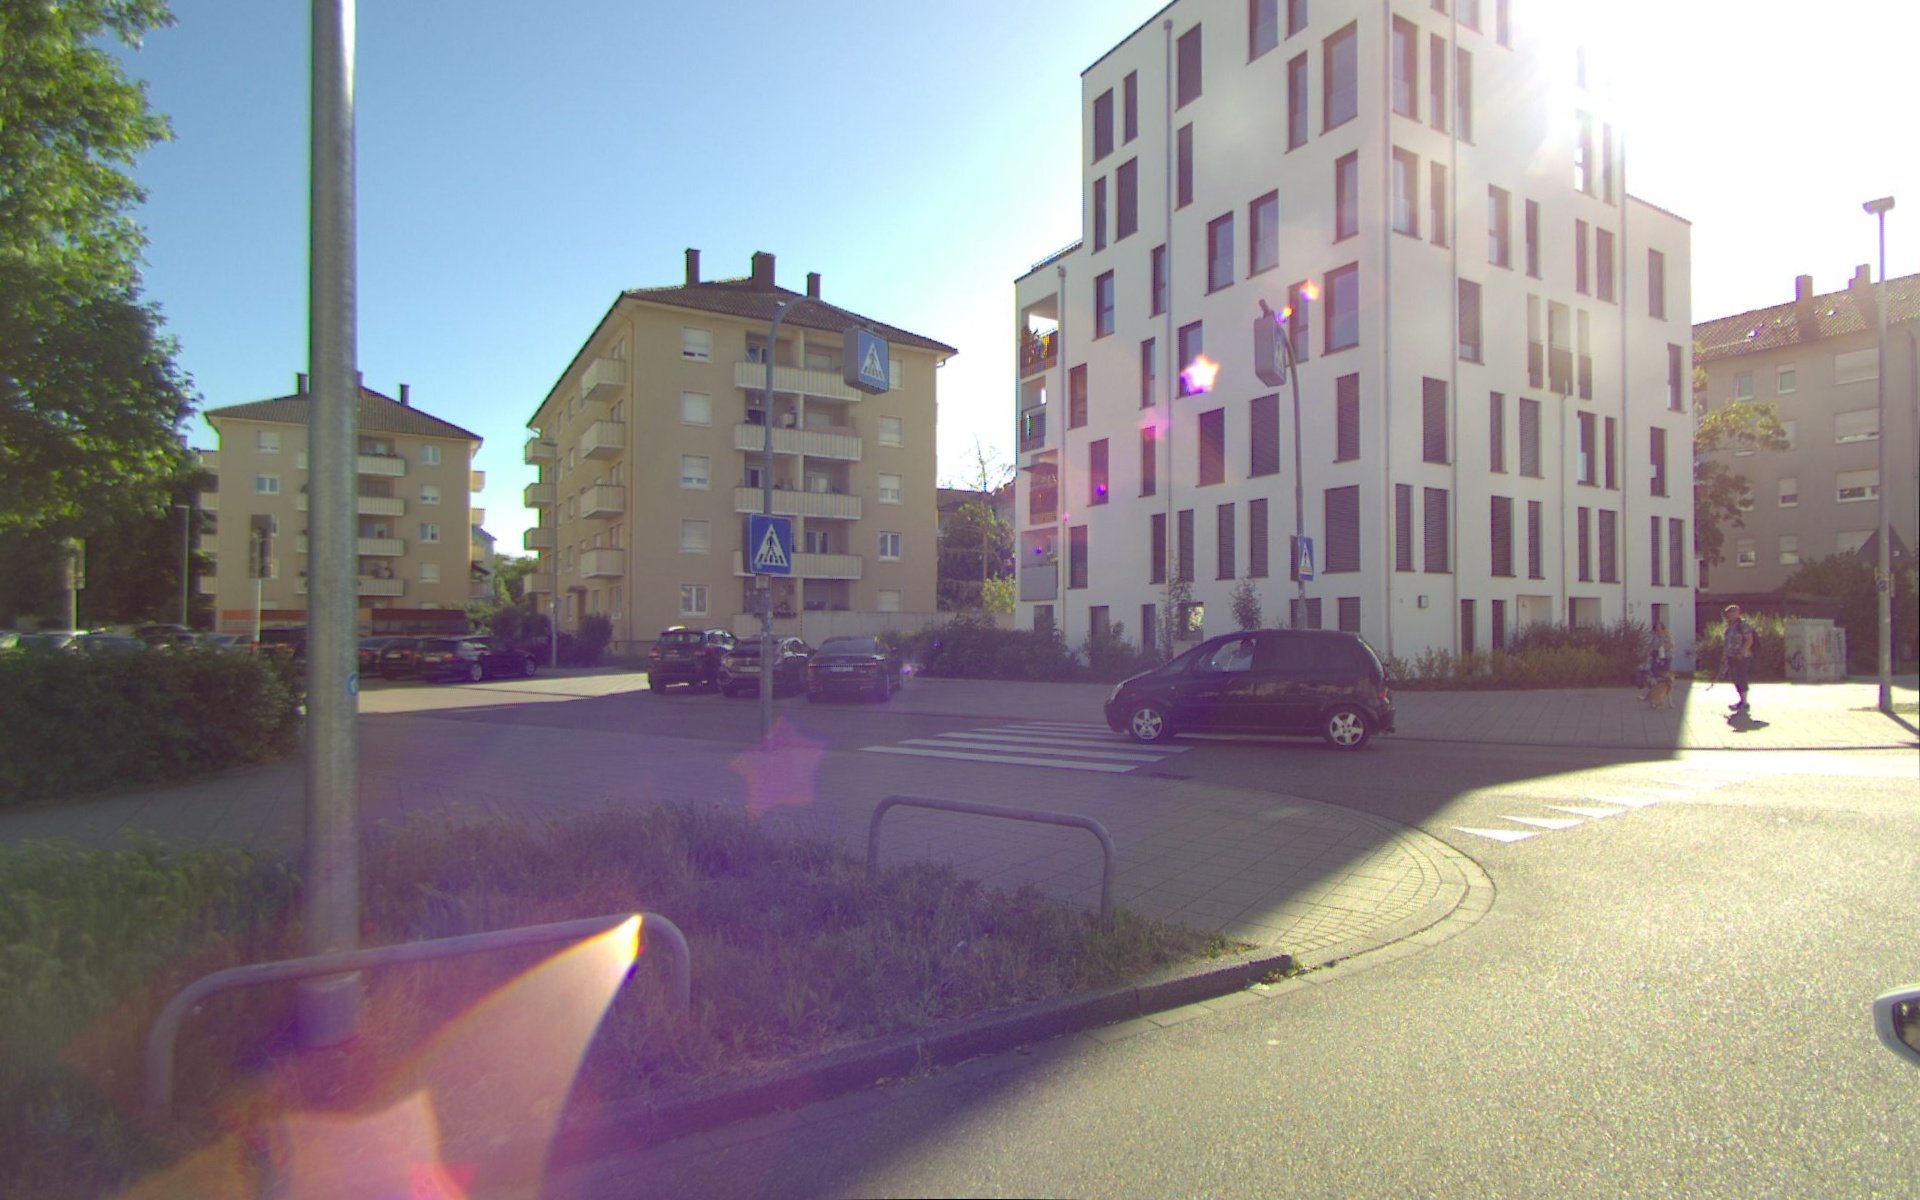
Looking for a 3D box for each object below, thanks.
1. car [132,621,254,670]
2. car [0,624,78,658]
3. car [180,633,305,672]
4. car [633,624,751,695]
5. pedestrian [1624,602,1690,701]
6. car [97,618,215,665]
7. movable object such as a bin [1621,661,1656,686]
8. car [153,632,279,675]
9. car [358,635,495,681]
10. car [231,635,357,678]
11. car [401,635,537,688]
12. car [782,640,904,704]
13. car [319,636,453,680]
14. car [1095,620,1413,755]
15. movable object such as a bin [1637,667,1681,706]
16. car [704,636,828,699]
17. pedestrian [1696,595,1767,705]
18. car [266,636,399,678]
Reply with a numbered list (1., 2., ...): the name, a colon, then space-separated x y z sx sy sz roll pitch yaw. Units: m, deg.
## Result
1. car: -34.632 2.007 45.504 1.960 2.040 4.002 2 0 15
2. car: -55.391 2.429 59.698 1.962 1.862 3.997 2 0 25
3. car: -30.282 2.173 42.564 1.959 1.417 4.002 2 0 13
4. car: -7.071 1.531 26.929 1.960 1.673 4.001 -1 0 2
5. pedestrian: 15.480 1.134 22.322 0.939 2.149 0.776 -1 0 12
6. car: -38.022 1.904 47.634 1.959 2.040 4.002 2 0 12
7. movable object such as a bin: 15.638 1.696 23.146 0.674 0.549 0.272 1 -1 -11
8. car: -32.537 2.290 44.047 1.960 1.662 4.000 2 0 19
9. car: -18.100 1.925 34.302 1.959 1.327 4.002 1 0 13
10. car: -25.822 2.142 39.109 1.959 1.272 4.001 2 2 7
11. car: -15.648 1.933 32.275 1.959 1.420 4.002 2 0 9
12. car: -2.607 1.614 23.504 1.960 1.183 4.566 -1 0 5
13. car: -20.354 2.016 35.825 1.959 1.327 4.002 1 0 13
14. car: 4.106 1.131 14.176 4.033 1.550 1.742 2 0 21
15. movable object such as a bin: 12.840 1.583 18.448 0.837 0.689 0.271 1 -2 -25
16. car: -4.821 1.652 25.697 1.960 1.450 4.567 -1 -2 5
17. pedestrian: 13.869 0.883 18.066 0.785 1.910 0.836 2 0 -41
18. car: -23.302 2.069 37.472 1.959 1.327 4.002 1 0 13
